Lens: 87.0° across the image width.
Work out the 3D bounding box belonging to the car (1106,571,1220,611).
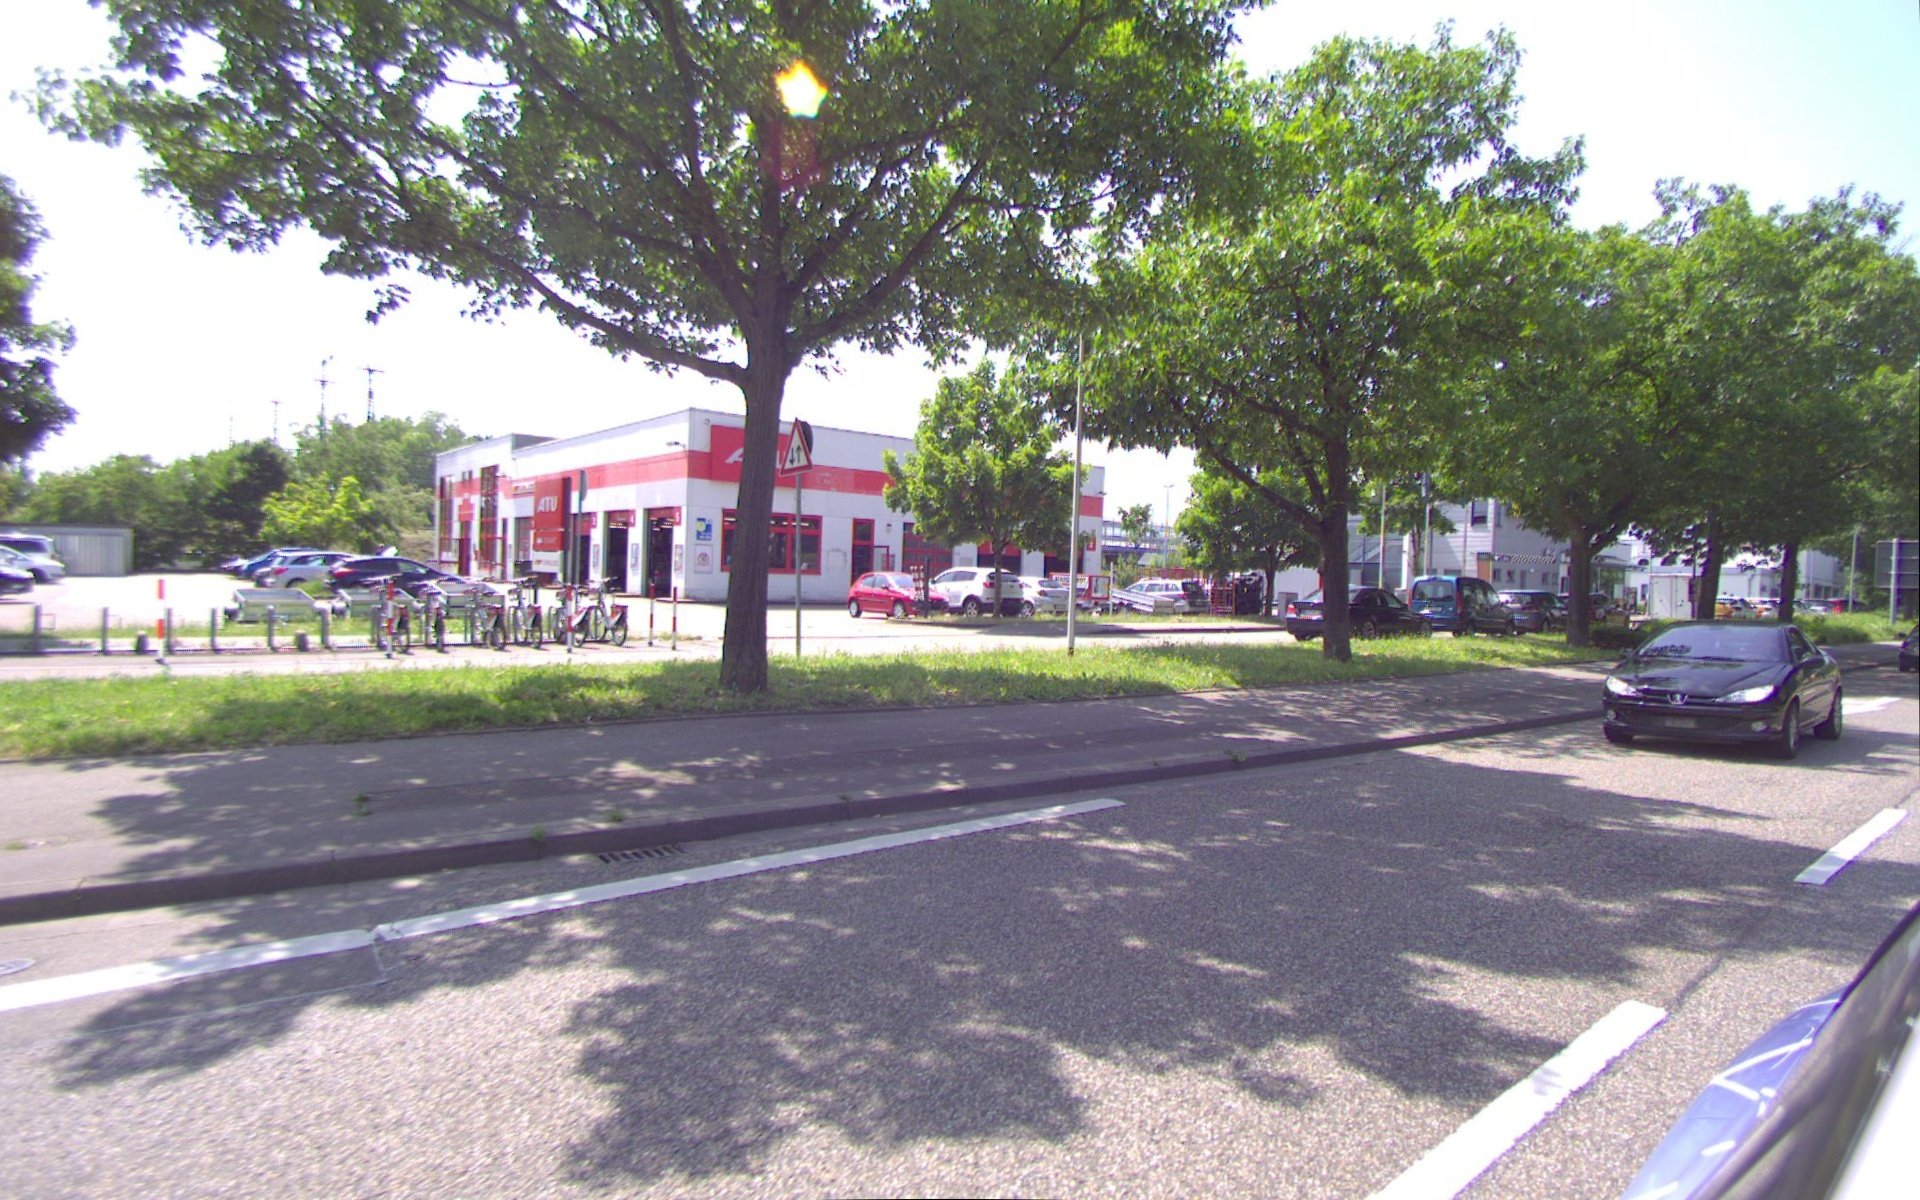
[{"bbox_3d":[7.557,-0.359,37.936,1.661,1.317,3.993,1,2,-42],"label":"car"}]

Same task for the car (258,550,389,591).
[{"bbox_3d":[-23.651,-1.094,37.665,3.930,1.389,1.725,0,2,-41],"label":"car"}]

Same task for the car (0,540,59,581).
[{"bbox_3d":[-38.720,-1.607,40.487,3.930,1.582,1.710,1,2,-41],"label":"car"}]

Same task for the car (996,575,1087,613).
[{"bbox_3d":[2.909,-0.225,36.623,1.422,1.223,3.215,1,2,-41],"label":"car"}]

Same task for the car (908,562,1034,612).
[{"bbox_3d":[0.302,-0.434,32.116,1.717,1.419,3.993,1,2,-42],"label":"car"}]

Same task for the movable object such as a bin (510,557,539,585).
[{"bbox_3d":[-20.583,-1.362,47.818,1.047,1.274,1.003,1,2,-36],"label":"movable object such as a bin"}]

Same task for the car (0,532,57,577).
[{"bbox_3d":[-40.397,-1.937,42.217,3.925,1.793,1.712,1,2,-37],"label":"car"}]

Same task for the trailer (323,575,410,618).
[{"bbox_3d":[-11.979,-0.090,20.401,1.244,0.771,2.138,1,2,-38],"label":"trailer"}]

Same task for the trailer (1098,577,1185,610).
[{"bbox_3d":[6.440,-0.236,36.064,1.551,1.065,2.640,1,2,-42],"label":"trailer"}]

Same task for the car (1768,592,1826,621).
[{"bbox_3d":[46.569,0.376,56.285,3.928,1.485,1.720,1,2,-39],"label":"car"}]

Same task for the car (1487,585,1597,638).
[{"bbox_3d":[18.460,0.351,32.054,3.928,1.539,1.720,1,2,-39],"label":"car"}]

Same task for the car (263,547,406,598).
[{"bbox_3d":[-21.954,-0.946,35.609,4.072,1.683,1.717,0,2,-40],"label":"car"}]

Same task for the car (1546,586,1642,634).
[{"bbox_3d":[22.625,0.345,36.084,3.928,1.532,1.720,1,2,-39],"label":"car"}]

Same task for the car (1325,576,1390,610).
[{"bbox_3d":[20.279,-0.353,51.549,1.754,1.615,3.937,3,2,43],"label":"car"}]

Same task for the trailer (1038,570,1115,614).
[{"bbox_3d":[4.398,-0.324,38.338,1.391,1.546,2.640,1,2,-42],"label":"trailer"}]

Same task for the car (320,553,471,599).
[{"bbox_3d":[-18.498,-0.766,33.264,4.072,1.389,1.717,0,2,-40],"label":"car"}]

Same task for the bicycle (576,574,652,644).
[{"bbox_3d":[-6.082,0.136,17.733,1.780,1.138,0.506,3,2,44],"label":"bicycle"}]

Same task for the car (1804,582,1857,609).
[{"bbox_3d":[51.378,-0.283,59.717,3.928,1.485,1.720,1,2,-39],"label":"car"}]

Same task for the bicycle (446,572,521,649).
[{"bbox_3d":[-7.755,0.147,16.428,1.780,1.138,0.506,3,2,44],"label":"bicycle"}]

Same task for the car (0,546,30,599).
[{"bbox_3d":[-27.910,-0.802,27.369,3.927,1.444,1.711,1,2,-39],"label":"car"}]

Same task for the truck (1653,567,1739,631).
[{"bbox_3d":[31.533,-0.051,43.328,3.927,2.598,1.905,1,2,-38],"label":"truck"}]

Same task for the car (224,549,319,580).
[{"bbox_3d":[-35.817,-1.836,52.671,3.930,1.482,1.786,0,2,-41],"label":"car"}]

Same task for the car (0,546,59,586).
[{"bbox_3d":[-37.202,-1.323,38.779,3.930,1.477,1.710,1,2,-41],"label":"car"}]

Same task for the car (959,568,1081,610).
[{"bbox_3d":[1.936,-0.380,33.559,1.717,1.223,3.993,1,2,-42],"label":"car"}]

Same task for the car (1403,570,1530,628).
[{"bbox_3d":[14.365,-0.029,28.624,3.928,1.485,1.720,1,2,-39],"label":"car"}]

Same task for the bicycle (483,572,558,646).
[{"bbox_3d":[-7.388,0.133,16.961,1.780,1.138,0.506,3,2,44],"label":"bicycle"}]

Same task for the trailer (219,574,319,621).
[{"bbox_3d":[-13.128,-0.072,19.183,1.423,0.771,2.468,1,2,-38],"label":"trailer"}]

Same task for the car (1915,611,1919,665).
[{"bbox_3d":[26.510,0.997,26.603,4.072,1.388,1.641,1,0,-41],"label":"car"}]

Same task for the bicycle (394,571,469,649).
[{"bbox_3d":[-8.387,0.129,16.036,1.780,1.138,0.506,3,2,44],"label":"bicycle"}]

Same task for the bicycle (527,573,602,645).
[{"bbox_3d":[-6.818,0.131,17.401,1.780,1.138,0.506,3,2,44],"label":"bicycle"}]

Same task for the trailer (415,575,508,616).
[{"bbox_3d":[-10.595,-0.109,21.460,1.368,0.771,2.138,1,2,-38],"label":"trailer"}]

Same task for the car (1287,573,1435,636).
[{"bbox_3d":[9.866,0.103,24.762,3.928,1.388,1.642,1,2,-39],"label":"car"}]

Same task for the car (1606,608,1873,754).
[{"bbox_3d":[8.904,0.782,11.447,3.929,1.361,1.641,1,0,-41],"label":"car"}]

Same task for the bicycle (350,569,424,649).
[{"bbox_3d":[-8.876,0.115,15.644,1.780,1.138,0.506,3,2,44],"label":"bicycle"}]

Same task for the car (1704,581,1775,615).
[{"bbox_3d":[36.121,-0.089,46.871,3.928,1.485,1.720,1,2,-39],"label":"car"}]

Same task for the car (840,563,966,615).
[{"bbox_3d":[-1.811,-0.365,30.905,1.717,1.419,3.994,1,2,-42],"label":"car"}]

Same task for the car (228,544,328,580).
[{"bbox_3d":[-33.593,-1.859,49.874,3.930,1.626,1.710,1,2,-41],"label":"car"}]

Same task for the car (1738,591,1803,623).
[{"bbox_3d":[40.835,0.327,50.962,3.928,1.485,1.720,1,2,-39],"label":"car"}]

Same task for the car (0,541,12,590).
[{"bbox_3d":[-33.444,-1.190,32.700,3.927,1.600,1.711,1,2,-39],"label":"car"}]
